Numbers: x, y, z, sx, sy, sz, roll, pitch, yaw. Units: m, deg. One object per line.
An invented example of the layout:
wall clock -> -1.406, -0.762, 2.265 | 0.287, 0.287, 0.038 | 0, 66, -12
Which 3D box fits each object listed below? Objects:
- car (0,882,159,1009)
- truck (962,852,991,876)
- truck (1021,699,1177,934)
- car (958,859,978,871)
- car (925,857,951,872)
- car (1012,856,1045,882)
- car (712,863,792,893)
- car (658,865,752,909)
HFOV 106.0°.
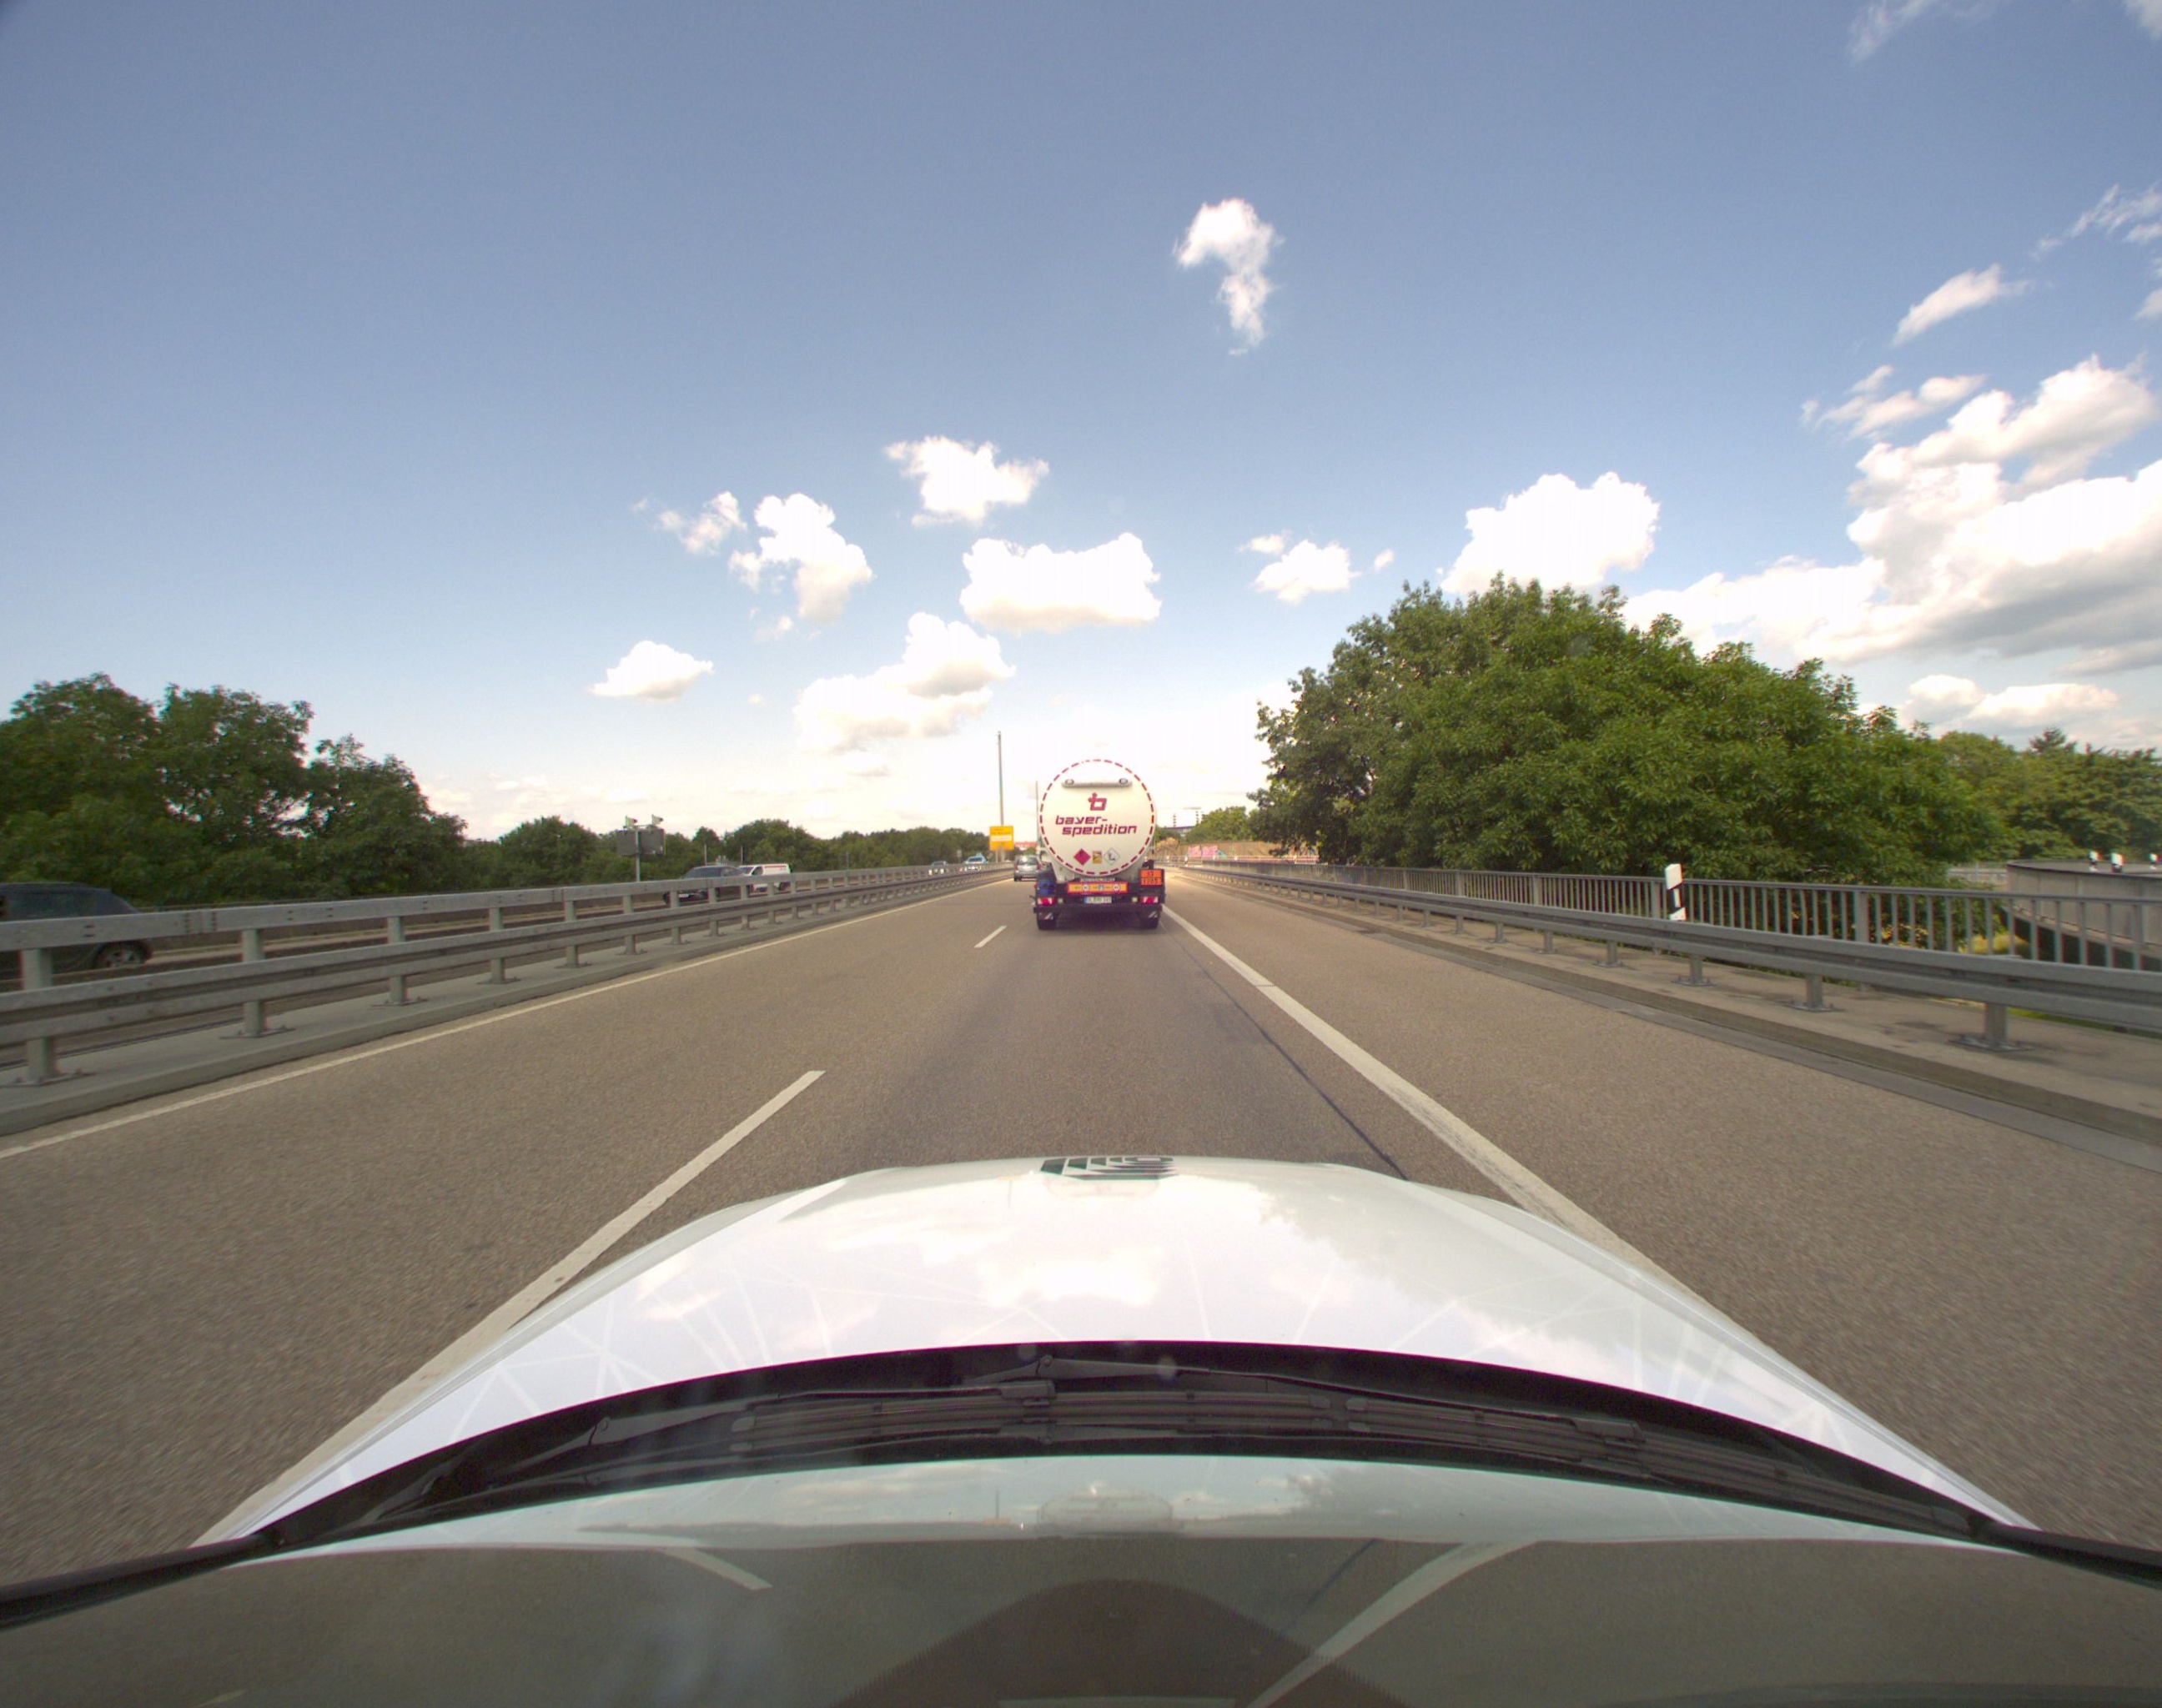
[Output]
car -> -15.385, 1.255, 10.754 | 1.816, 1.639, 4.000 | 0, 0, 0
truck -> -9.883, 0.919, 77.285 | 1.865, 2.187, 5.191 | 0, 0, 2
truck -> 0.357, -0.692, 19.185 | 2.886, 4.369, 8.028 | 0, 0, 0
car -> -13.974, 1.347, 100.686 | 1.897, 1.529, 4.241 | 0, 0, -1
car -> -14.736, 1.065, 84.032 | 1.822, 1.581, 3.955 | 0, 0, 2
car -> -3.284, 0.897, 51.505 | 1.742, 1.531, 4.000 | -1, 0, 0
car -> -22.143, 1.568, 55.011 | 1.976, 1.898, 5.195 | 0, 0, 21
car -> -15.489, 1.323, 33.807 | 1.885, 1.640, 4.510 | 0, 0, -1
